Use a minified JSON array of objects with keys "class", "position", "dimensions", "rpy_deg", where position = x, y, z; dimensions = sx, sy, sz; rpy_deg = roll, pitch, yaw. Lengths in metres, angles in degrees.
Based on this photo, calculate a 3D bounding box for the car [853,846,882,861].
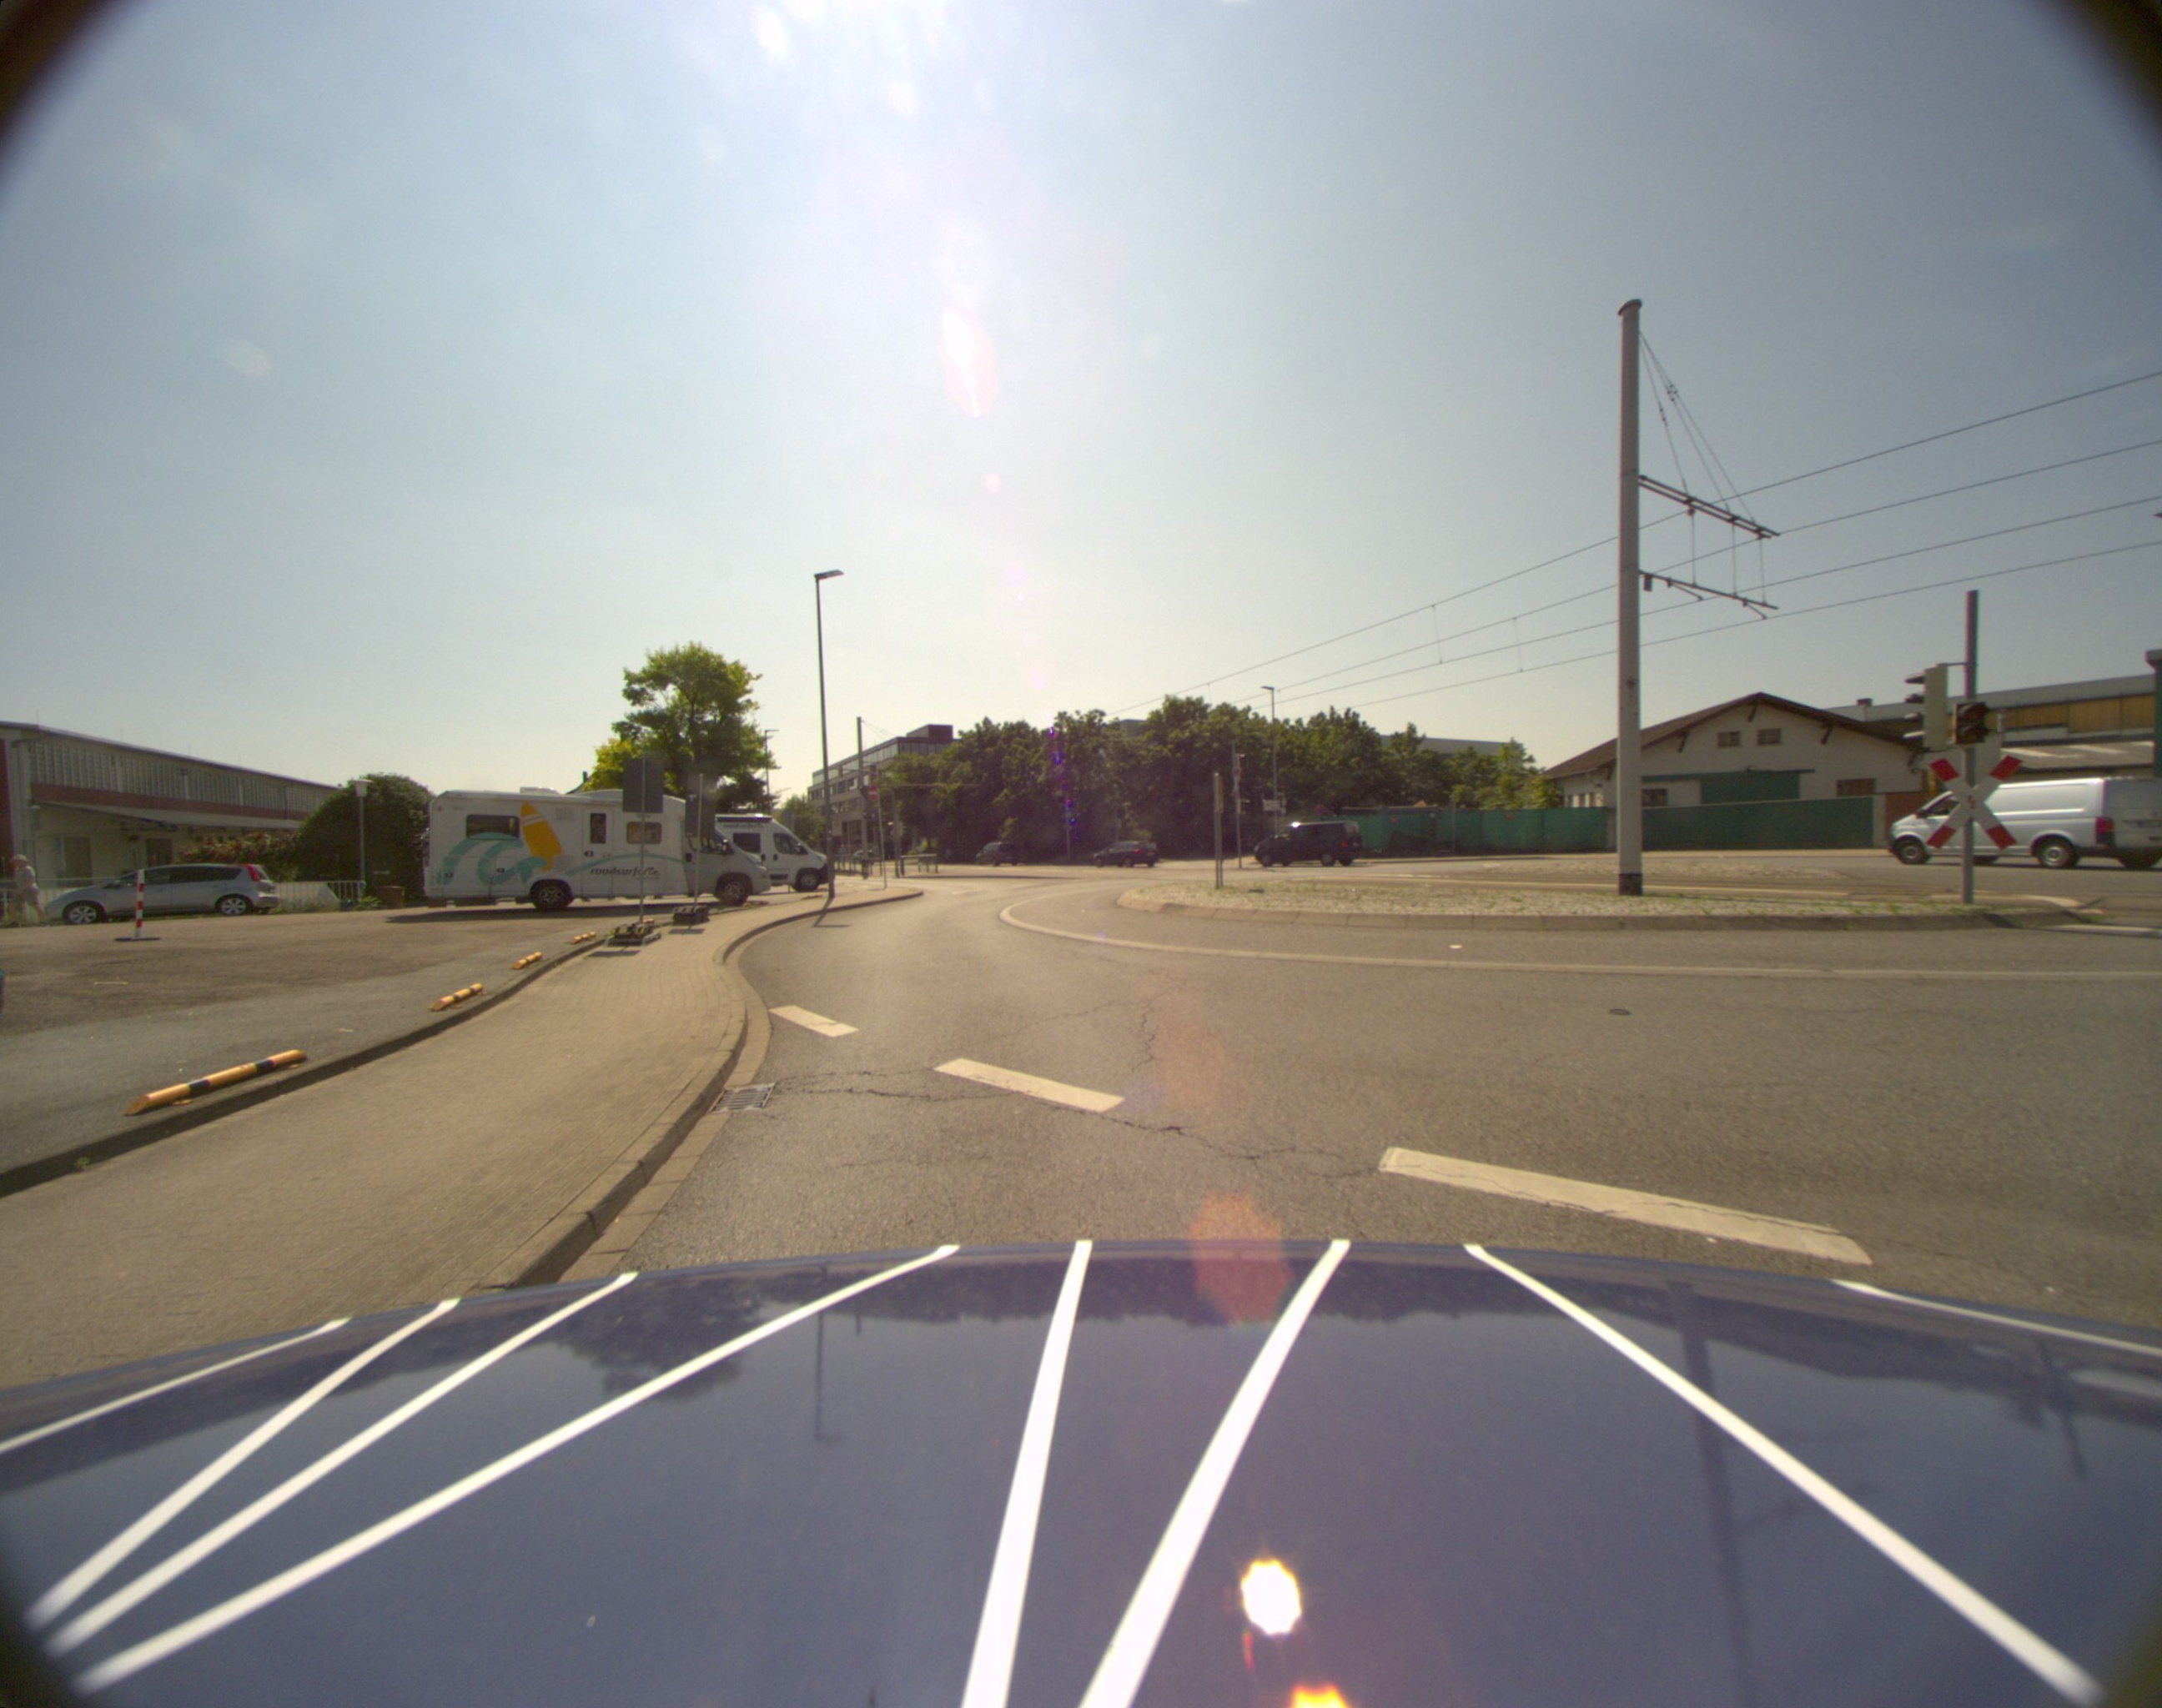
[{"class":"car","position":[-24.573,-0.092,87.368],"dimensions":[1.937,1.574,4.180],"rpy_deg":[1,1,-36]}]

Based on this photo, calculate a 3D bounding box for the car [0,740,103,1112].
[{"class":"car","position":[-8.341,0.408,2.893],"dimensions":[5.234,2.102,2.092],"rpy_deg":[0,2,-25]}]

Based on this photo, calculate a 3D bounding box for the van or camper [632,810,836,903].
[{"class":"van or camper","position":[-11.372,0.012,25.171],"dimensions":[5.838,2.757,2.086],"rpy_deg":[-2,0,-28]}]

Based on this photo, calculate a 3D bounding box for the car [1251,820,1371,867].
[{"class":"car","position":[10.318,-0.454,34.273],"dimensions":[4.626,1.899,2.102],"rpy_deg":[-2,1,43]}]

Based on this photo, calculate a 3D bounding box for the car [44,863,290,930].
[{"class":"car","position":[-24.719,1.117,20.801],"dimensions":[3.902,1.506,1.812],"rpy_deg":[-3,-1,-34]}]

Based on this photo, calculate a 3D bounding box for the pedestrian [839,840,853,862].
[{"class":"pedestrian","position":[-18.649,-0.233,60.306],"dimensions":[0.727,1.715,0.942],"rpy_deg":[-4,2,-31]}]

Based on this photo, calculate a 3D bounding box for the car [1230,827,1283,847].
[{"class":"car","position":[14.111,-1.336,61.155],"dimensions":[3.856,1.458,1.629],"rpy_deg":[-1,2,35]}]

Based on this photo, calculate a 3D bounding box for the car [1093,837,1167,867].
[{"class":"car","position":[2.747,-0.090,43.467],"dimensions":[1.973,1.547,4.232],"rpy_deg":[-3,1,-35]}]

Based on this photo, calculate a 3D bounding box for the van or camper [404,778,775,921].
[{"class":"van or camper","position":[-11.396,-0.138,18.413],"dimensions":[7.096,2.929,2.329],"rpy_deg":[-1,1,-31]}]

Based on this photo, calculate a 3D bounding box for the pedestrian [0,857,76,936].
[{"class":"pedestrian","position":[-23.734,0.943,17.140],"dimensions":[0.778,1.663,0.943],"rpy_deg":[-2,5,-19]}]

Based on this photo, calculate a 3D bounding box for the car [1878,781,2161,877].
[{"class":"car","position":[22.025,-0.611,17.762],"dimensions":[1.931,1.925,4.828],"rpy_deg":[-2,2,4]}]

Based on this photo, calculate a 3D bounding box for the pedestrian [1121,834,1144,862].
[{"class":"pedestrian","position":[3.382,-0.383,49.859],"dimensions":[0.890,1.663,1.156],"rpy_deg":[-7,9,-31]}]

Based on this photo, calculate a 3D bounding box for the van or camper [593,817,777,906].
[{"class":"van or camper","position":[-14.019,0.206,27.234],"dimensions":[5.531,2.798,2.044],"rpy_deg":[-3,0,-27]}]

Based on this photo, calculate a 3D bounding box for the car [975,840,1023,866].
[{"class":"car","position":[-6.203,-0.105,57.294],"dimensions":[1.992,1.808,4.399],"rpy_deg":[-3,1,-28]}]
